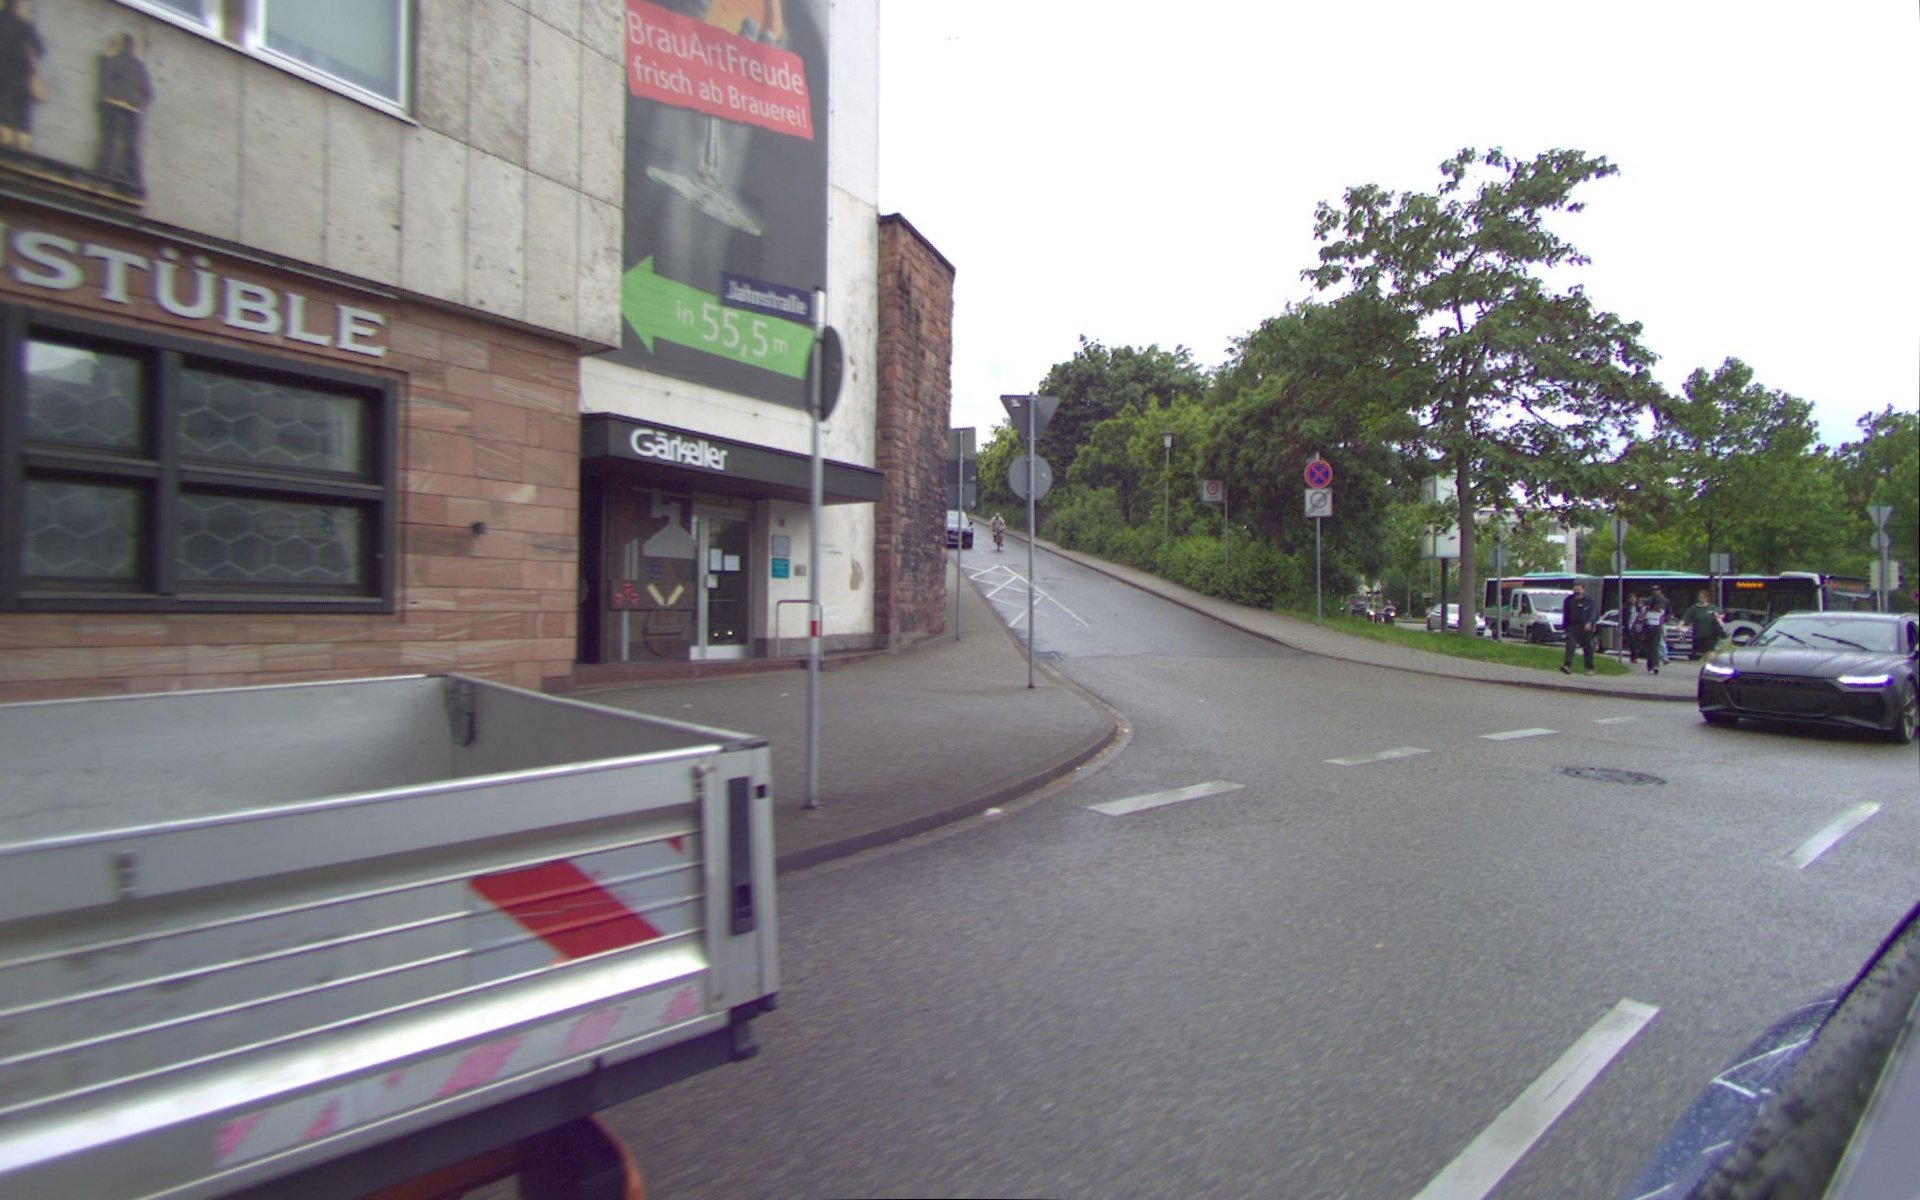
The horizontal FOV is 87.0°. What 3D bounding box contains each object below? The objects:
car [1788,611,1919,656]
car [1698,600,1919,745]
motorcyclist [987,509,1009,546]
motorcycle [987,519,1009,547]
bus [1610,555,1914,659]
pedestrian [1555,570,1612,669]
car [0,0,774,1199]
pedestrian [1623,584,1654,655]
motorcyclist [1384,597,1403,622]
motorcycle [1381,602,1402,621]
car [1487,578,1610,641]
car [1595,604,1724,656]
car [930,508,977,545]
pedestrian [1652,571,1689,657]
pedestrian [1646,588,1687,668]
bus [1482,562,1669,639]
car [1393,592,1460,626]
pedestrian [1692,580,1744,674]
[{"bbox_3d":[32.310,1.183,36.543,1.558,1.470,3.573,3,-1,-7],"label":"car"},{"bbox_3d":[11.206,0.792,12.723,4.279,1.422,1.898,1,2,-37],"label":"car"},{"bbox_3d":[1.765,-3.405,47.455,0.819,1.663,0.971,2,5,-5],"label":"motorcyclist"},{"bbox_3d":[1.758,-3.164,47.461,0.647,1.199,2.353,2,6,-6],"label":"motorcycle"},{"bbox_3d":[29.176,0.135,37.699,2.650,3.257,9.672,2,1,-7],"label":"bus"},{"bbox_3d":[11.216,0.351,18.195,0.948,1.707,0.571,2,2,-44],"label":"pedestrian"},{"bbox_3d":[-3.049,0.433,0.513,5.440,2.115,2.107,1,2,-39],"label":"car"},{"bbox_3d":[16.840,0.477,25.105,0.555,1.727,0.521,3,1,36],"label":"pedestrian"},{"bbox_3d":[26.632,0.587,62.219,0.793,1.455,1.237,1,0,10],"label":"motorcyclist"},{"bbox_3d":[26.566,0.719,62.344,0.561,1.133,2.681,1,0,9],"label":"motorcycle"},{"bbox_3d":[23.199,0.315,40.258,2.220,2.262,6.322,1,1,11],"label":"car"},{"bbox_3d":[21.487,0.867,31.296,1.768,1.391,4.083,1,1,12],"label":"car"},{"bbox_3d":[-0.372,-3.614,49.337,1.869,1.553,4.010,2,6,-6],"label":"car"},{"bbox_3d":[17.307,0.341,24.648,0.584,2.039,0.779,3,1,30],"label":"pedestrian"},{"bbox_3d":[14.834,0.575,21.244,0.599,1.618,0.697,4,2,37],"label":"pedestrian"},{"bbox_3d":[28.057,0.011,46.746,2.633,3.221,8.571,0,0,-7],"label":"bus"},{"bbox_3d":[24.808,0.461,54.005,1.967,1.673,4.862,1,0,9],"label":"car"},{"bbox_3d":[15.495,0.537,20.692,0.739,1.852,0.685,4,2,37],"label":"pedestrian"}]
